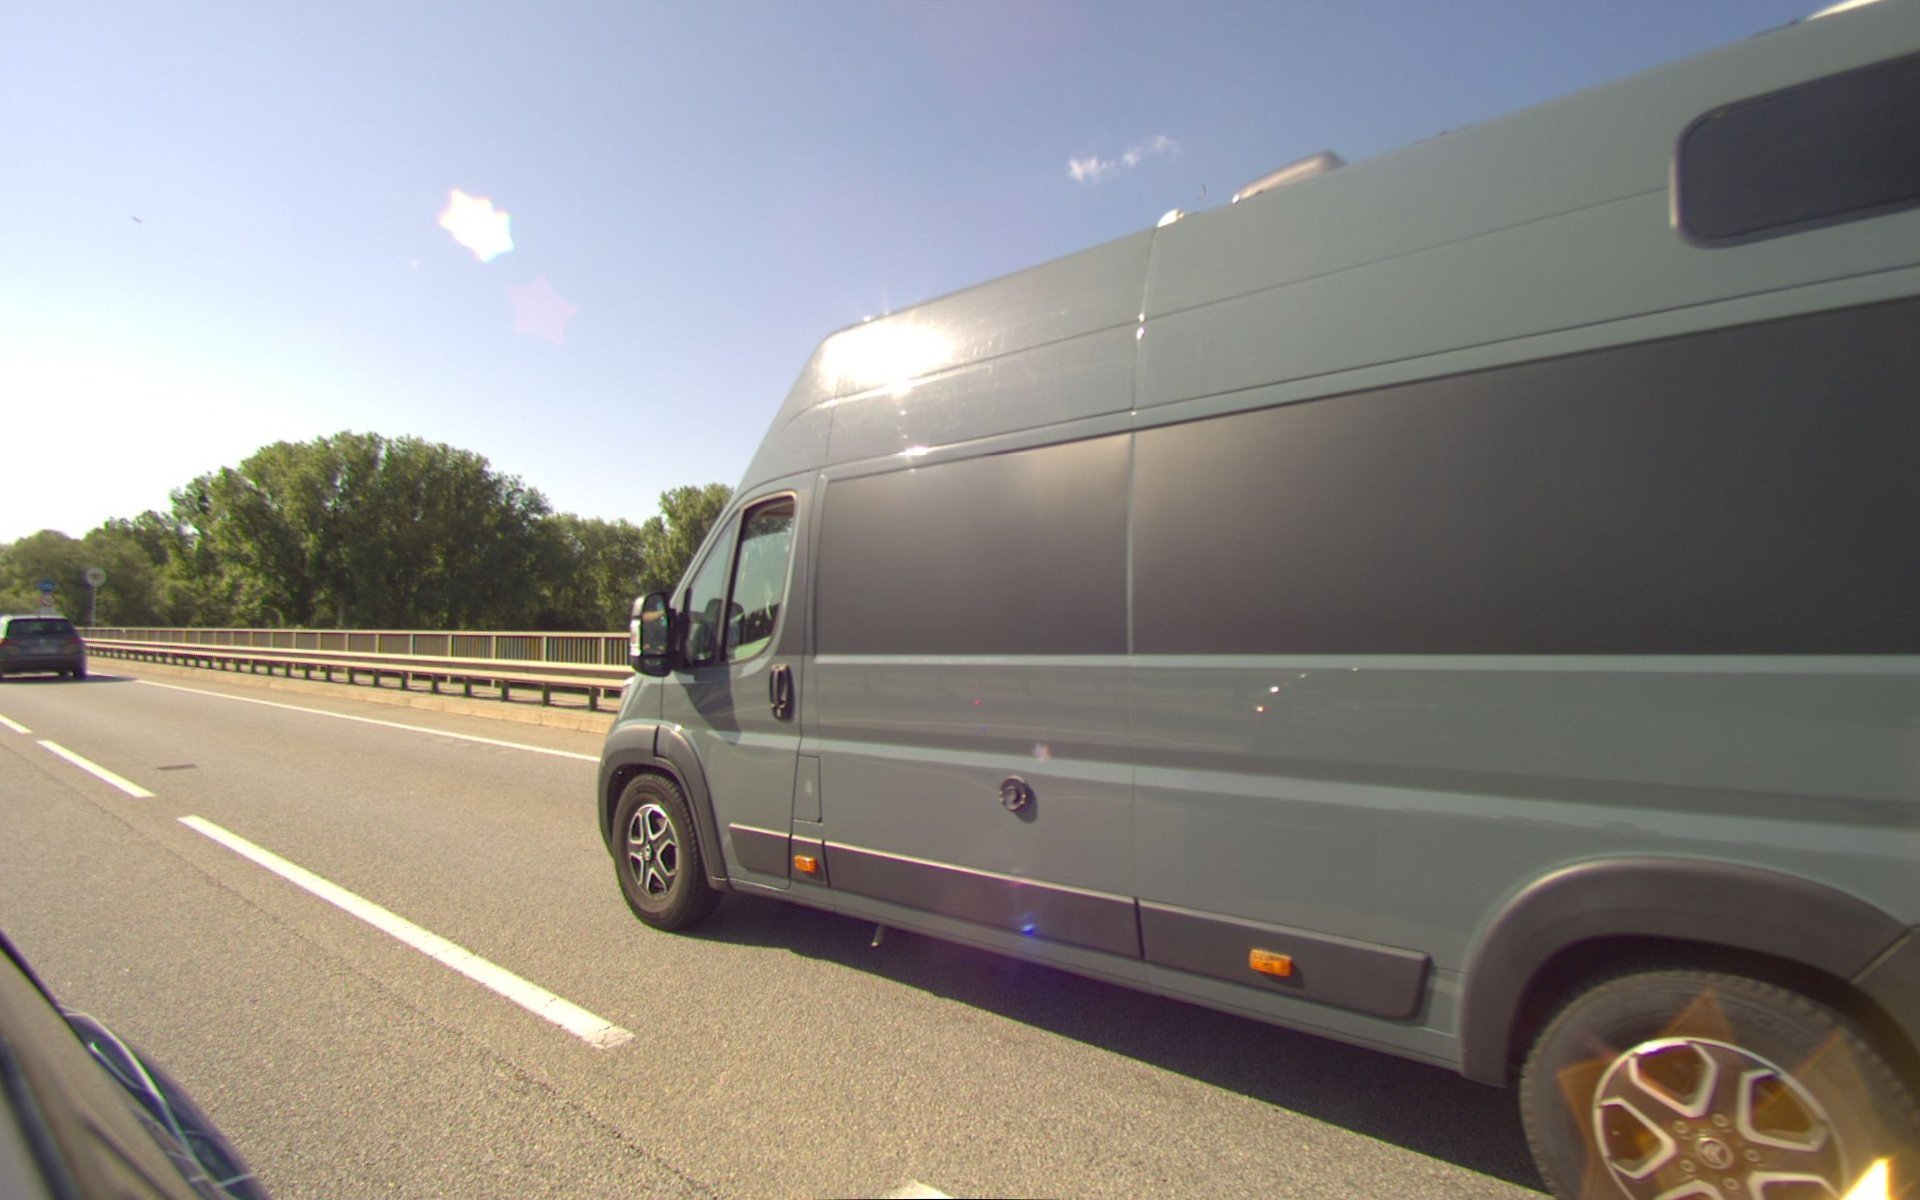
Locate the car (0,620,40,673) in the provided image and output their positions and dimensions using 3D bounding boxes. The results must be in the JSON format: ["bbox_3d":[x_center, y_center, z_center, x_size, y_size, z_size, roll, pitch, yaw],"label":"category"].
[{"bbox_3d":[-30.315,1.445,31.751,4.200,1.589,1.787,-2,-1,43],"label":"car"}]

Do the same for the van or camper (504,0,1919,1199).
[{"bbox_3d":[0.924,-0.043,3.915,6.814,3.074,2.291,-1,-1,41],"label":"van or camper"}]

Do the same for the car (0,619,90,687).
[{"bbox_3d":[-23.667,1.289,25.663,4.272,1.596,1.855,-1,-2,41],"label":"car"}]
